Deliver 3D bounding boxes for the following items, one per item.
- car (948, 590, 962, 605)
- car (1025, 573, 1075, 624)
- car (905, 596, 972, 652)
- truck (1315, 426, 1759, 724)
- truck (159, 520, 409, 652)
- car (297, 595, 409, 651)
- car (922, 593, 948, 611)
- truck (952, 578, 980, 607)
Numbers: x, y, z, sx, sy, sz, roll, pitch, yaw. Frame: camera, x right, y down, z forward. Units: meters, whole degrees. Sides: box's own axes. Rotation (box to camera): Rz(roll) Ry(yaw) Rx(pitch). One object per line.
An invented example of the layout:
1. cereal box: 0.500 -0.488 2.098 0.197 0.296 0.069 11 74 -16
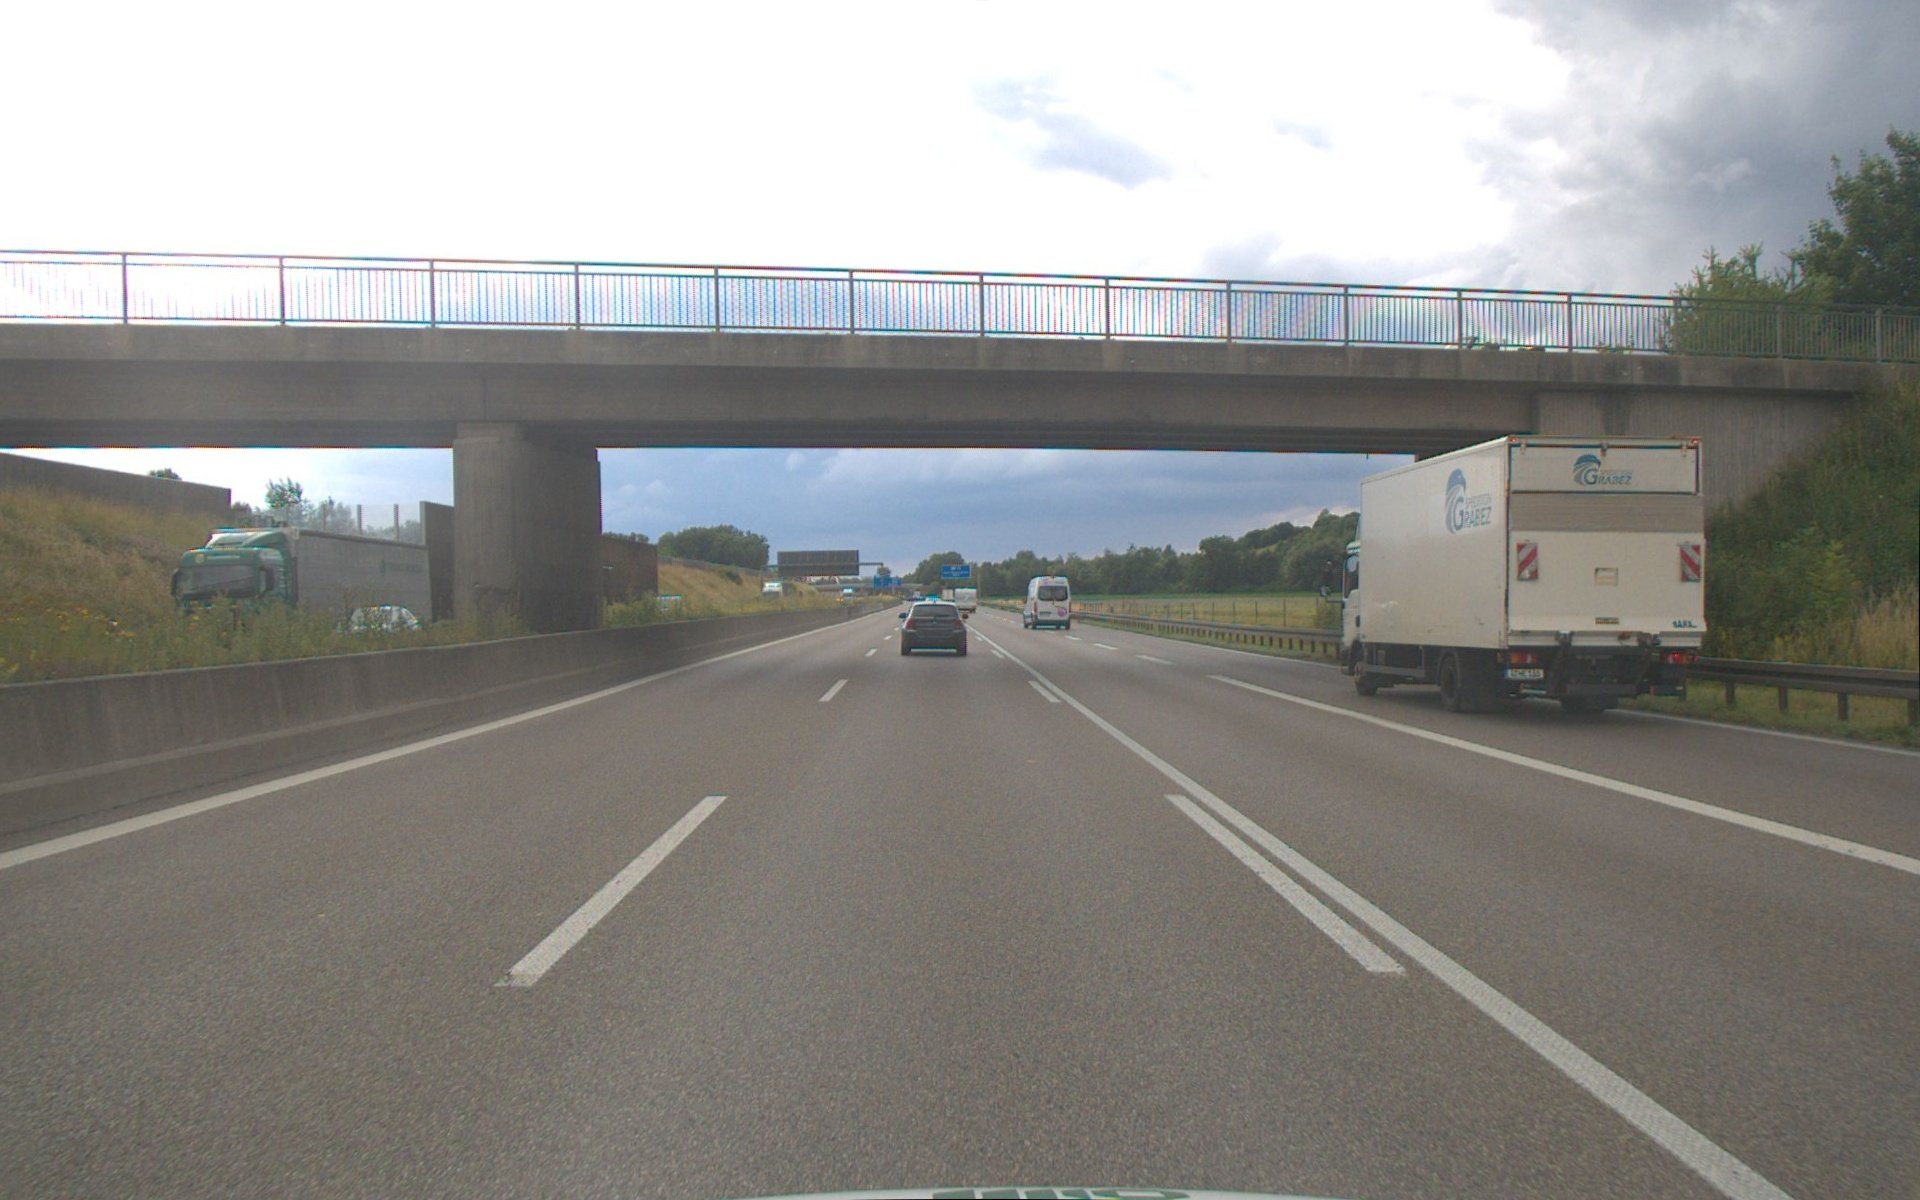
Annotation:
1. car: -0.774 -0.385 241.974 1.953 2.049 3.999 -1 0 -2
2. car: 4.697 -0.086 86.991 2.176 2.613 6.254 0 0 -1
3. car: -0.592 0.609 44.485 1.708 1.413 3.999 0 0 -1
4. truck: 7.912 -0.299 24.342 3.042 3.531 8.886 1 0 -3
5. truck: -21.381 -0.379 53.508 2.936 3.748 13.006 0 0 -1
6. car: -17.972 0.633 49.182 1.692 1.510 4.921 -1 0 -3
7. car: -1.969 0.174 130.038 1.953 1.321 3.999 -1 0 -2
8. truck: 0.601 -0.819 180.014 2.655 3.016 12.443 1 0 -1
